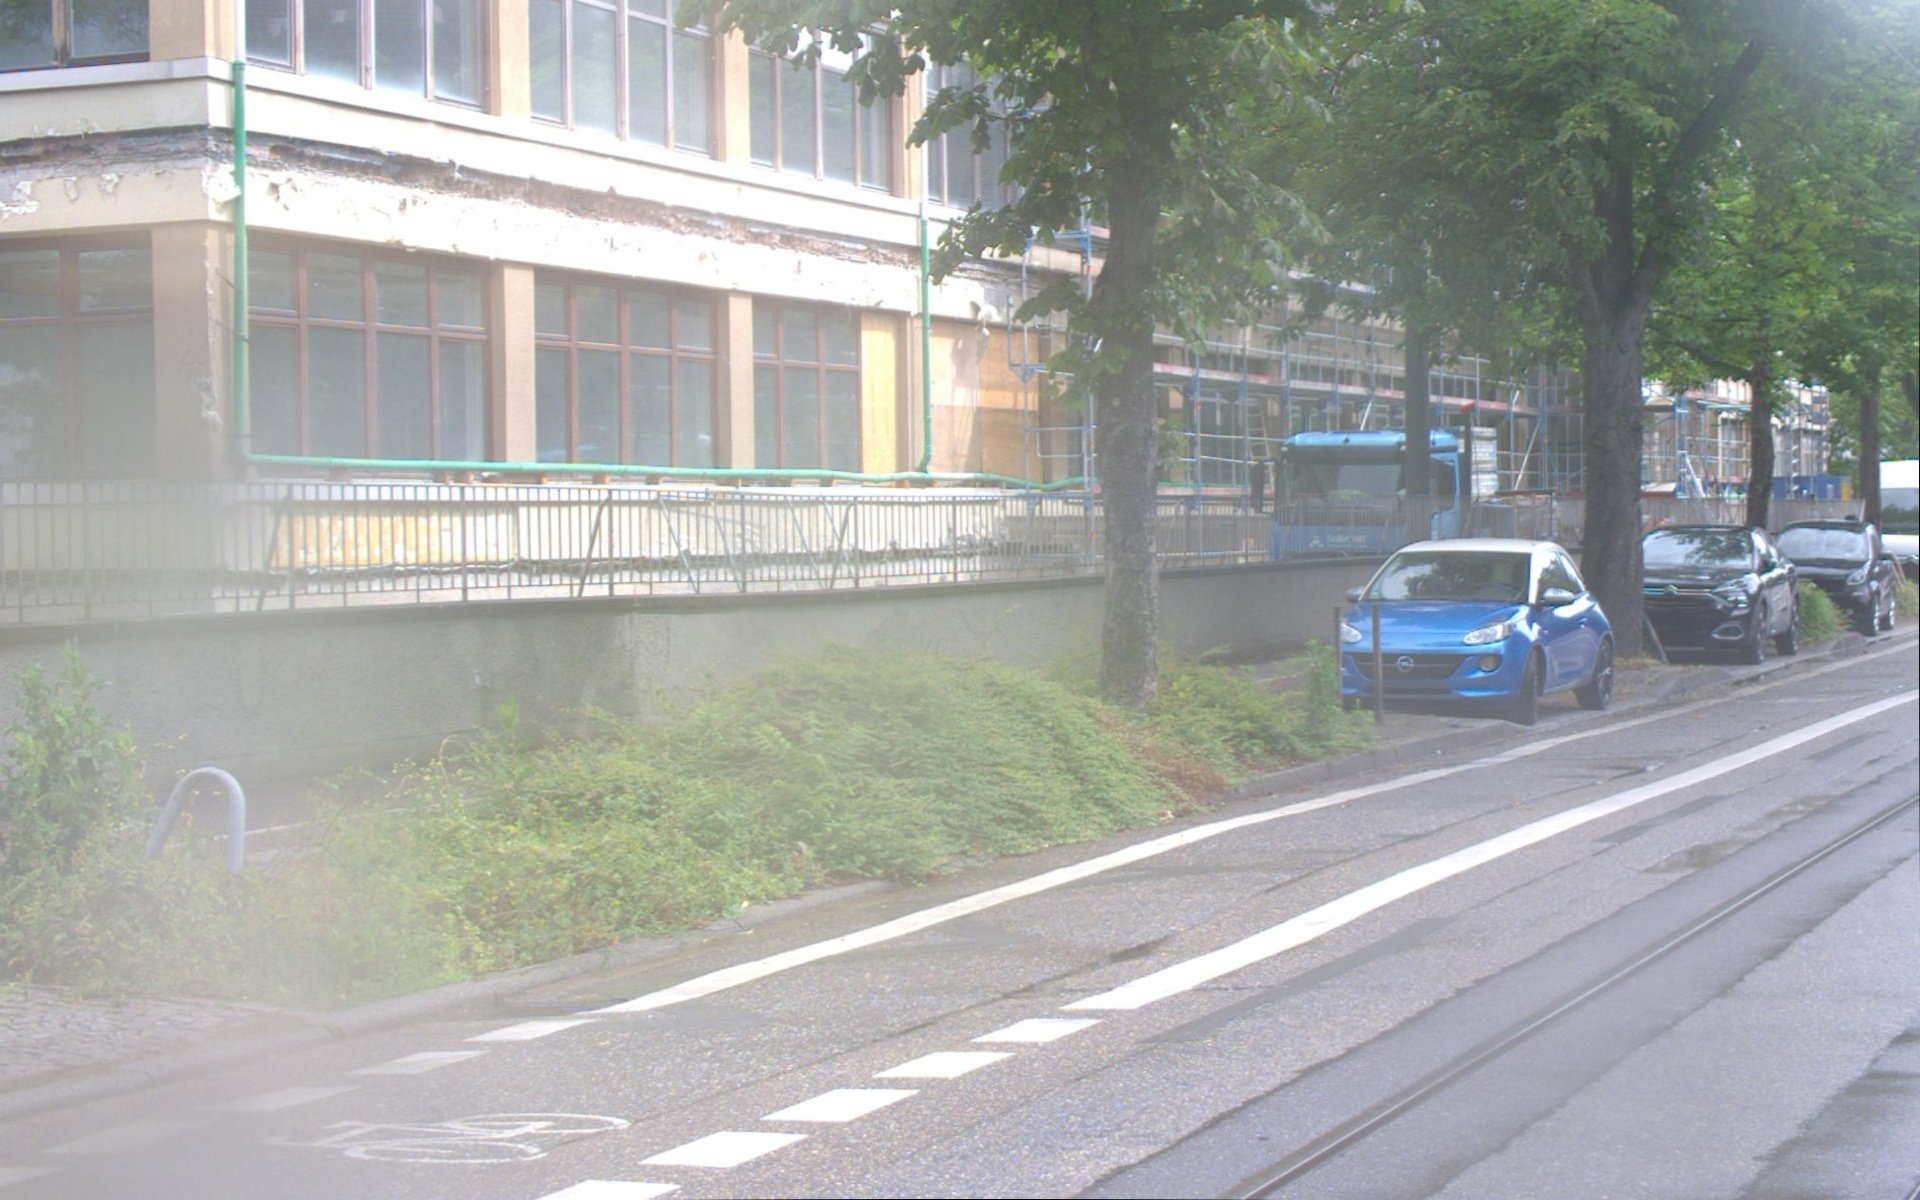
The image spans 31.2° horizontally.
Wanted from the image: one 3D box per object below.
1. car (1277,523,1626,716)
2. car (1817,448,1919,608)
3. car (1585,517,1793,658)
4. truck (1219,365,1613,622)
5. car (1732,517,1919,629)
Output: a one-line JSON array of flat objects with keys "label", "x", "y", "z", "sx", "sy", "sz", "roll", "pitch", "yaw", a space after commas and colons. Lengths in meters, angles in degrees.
[{"label": "car", "x": 4.201, "y": 0.119, "z": 28.868, "sx": 1.886, "sy": 1.465, "sz": 3.995, "roll": 2, "pitch": 1, "yaw": 23}, {"label": "car", "x": 15.737, "y": -1.145, "z": 56.202, "sx": 2.591, "sy": 2.465, "sz": 6.146, "roll": 2, "pitch": 1, "yaw": 21}, {"label": "car", "x": 8.289, "y": -0.168, "z": 38.858, "sx": 1.886, "sy": 1.465, "sz": 3.997, "roll": 2, "pitch": 1, "yaw": 18}, {"label": "truck", "x": 7.147, "y": -1.547, "z": 52.222, "sx": 3.236, "sy": 3.515, "sz": 9.898, "roll": 2, "pitch": 1, "yaw": 24}, {"label": "car", "x": 12.273, "y": -0.415, "z": 48.187, "sx": 1.815, "sy": 1.465, "sz": 4.066, "roll": 2, "pitch": 2, "yaw": 28}]
